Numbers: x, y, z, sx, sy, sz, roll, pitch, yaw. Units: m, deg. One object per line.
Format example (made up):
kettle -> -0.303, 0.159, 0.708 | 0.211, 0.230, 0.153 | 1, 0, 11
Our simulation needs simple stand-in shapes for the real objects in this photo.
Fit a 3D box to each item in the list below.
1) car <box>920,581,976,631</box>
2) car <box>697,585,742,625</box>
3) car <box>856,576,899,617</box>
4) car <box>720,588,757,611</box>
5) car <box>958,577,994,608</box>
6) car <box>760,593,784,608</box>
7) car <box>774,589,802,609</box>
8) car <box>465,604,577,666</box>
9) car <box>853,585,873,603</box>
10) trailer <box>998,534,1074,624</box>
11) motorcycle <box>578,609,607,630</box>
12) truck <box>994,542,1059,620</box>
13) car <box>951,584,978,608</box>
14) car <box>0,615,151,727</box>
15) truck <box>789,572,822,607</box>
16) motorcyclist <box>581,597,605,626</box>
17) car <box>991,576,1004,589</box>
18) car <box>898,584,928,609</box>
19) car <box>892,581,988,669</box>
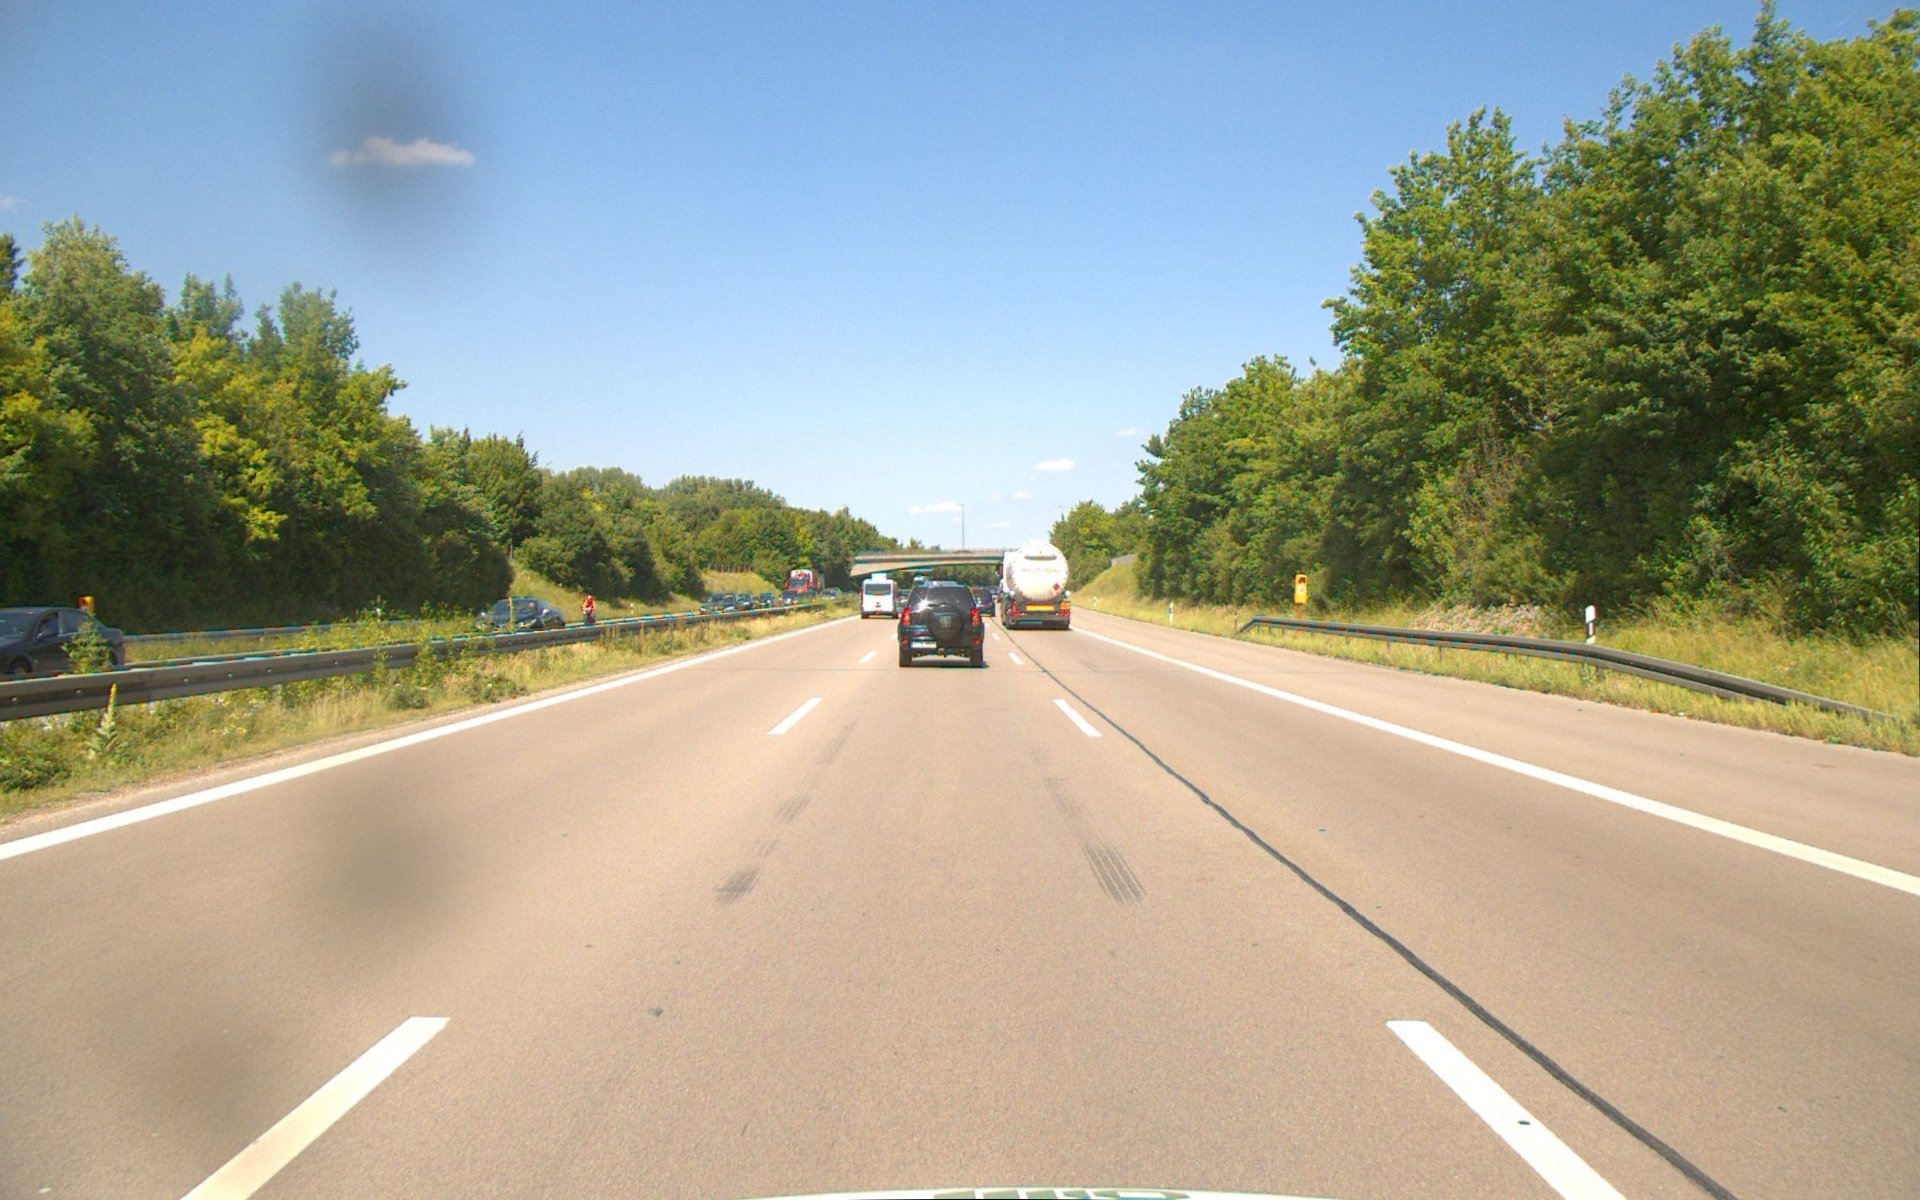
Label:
car -> -0.427, 0.209, 61.639 | 1.953, 1.735, 4.336 | -2, 0, 0
car -> -12.343, 0.222, 85.149 | 1.656, 1.914, 5.018 | -2, 1, -1
car -> -4.354, -0.193, 87.721 | 1.953, 2.049, 4.950 | -2, 0, 0
car -> -16.047, -0.050, 120.077 | 1.953, 1.500, 5.623 | -2, 1, 0
car -> 0.954, -0.408, 95.884 | 1.952, 1.713, 4.001 | -1, -1, 2
car -> -17.950, 0.044, 158.346 | 1.711, 1.320, 5.062 | -2, 1, 0
car -> -15.221, -0.086, 146.770 | 1.953, 1.658, 4.575 | -2, 1, 0
car -> -12.136, 0.926, 46.009 | 1.953, 1.547, 4.427 | -2, 1, -1
car -> -10.930, -0.694, 186.129 | 1.953, 1.898, 4.898 | -2, 1, -1
trailer -> 3.074, -0.860, 69.486 | 2.594, 3.449, 11.151 | 0, 1, 0
motorcycle -> -18.895, 0.992, 85.157 | 0.916, 1.035, 2.655 | -2, 1, -1
truck -> 2.995, -0.869, 76.100 | 2.584, 3.433, 6.486 | 0, 0, -1
car -> 0.370, -0.314, 127.675 | 1.952, 1.780, 4.206 | -1, 1, 2
car -> -15.385, 1.121, 27.323 | 1.829, 1.612, 4.557 | -2, 0, -1
truck -> -17.617, -1.224, 189.326 | 2.624, 3.835, 9.920 | -3, 1, 0
motorcyclist -> -18.911, 0.587, 85.218 | 0.921, 1.469, 1.356 | -2, 0, -1
car -> 5.433, -2.569, 237.730 | 1.775, 1.777, 4.000 | -1, 1, 1
car -> -3.186, -0.232, 112.872 | 1.953, 1.579, 3.999 | -1, -1, -1
car -> -0.360, 0.478, 34.630 | 1.867, 1.694, 4.001 | -1, 0, 1
